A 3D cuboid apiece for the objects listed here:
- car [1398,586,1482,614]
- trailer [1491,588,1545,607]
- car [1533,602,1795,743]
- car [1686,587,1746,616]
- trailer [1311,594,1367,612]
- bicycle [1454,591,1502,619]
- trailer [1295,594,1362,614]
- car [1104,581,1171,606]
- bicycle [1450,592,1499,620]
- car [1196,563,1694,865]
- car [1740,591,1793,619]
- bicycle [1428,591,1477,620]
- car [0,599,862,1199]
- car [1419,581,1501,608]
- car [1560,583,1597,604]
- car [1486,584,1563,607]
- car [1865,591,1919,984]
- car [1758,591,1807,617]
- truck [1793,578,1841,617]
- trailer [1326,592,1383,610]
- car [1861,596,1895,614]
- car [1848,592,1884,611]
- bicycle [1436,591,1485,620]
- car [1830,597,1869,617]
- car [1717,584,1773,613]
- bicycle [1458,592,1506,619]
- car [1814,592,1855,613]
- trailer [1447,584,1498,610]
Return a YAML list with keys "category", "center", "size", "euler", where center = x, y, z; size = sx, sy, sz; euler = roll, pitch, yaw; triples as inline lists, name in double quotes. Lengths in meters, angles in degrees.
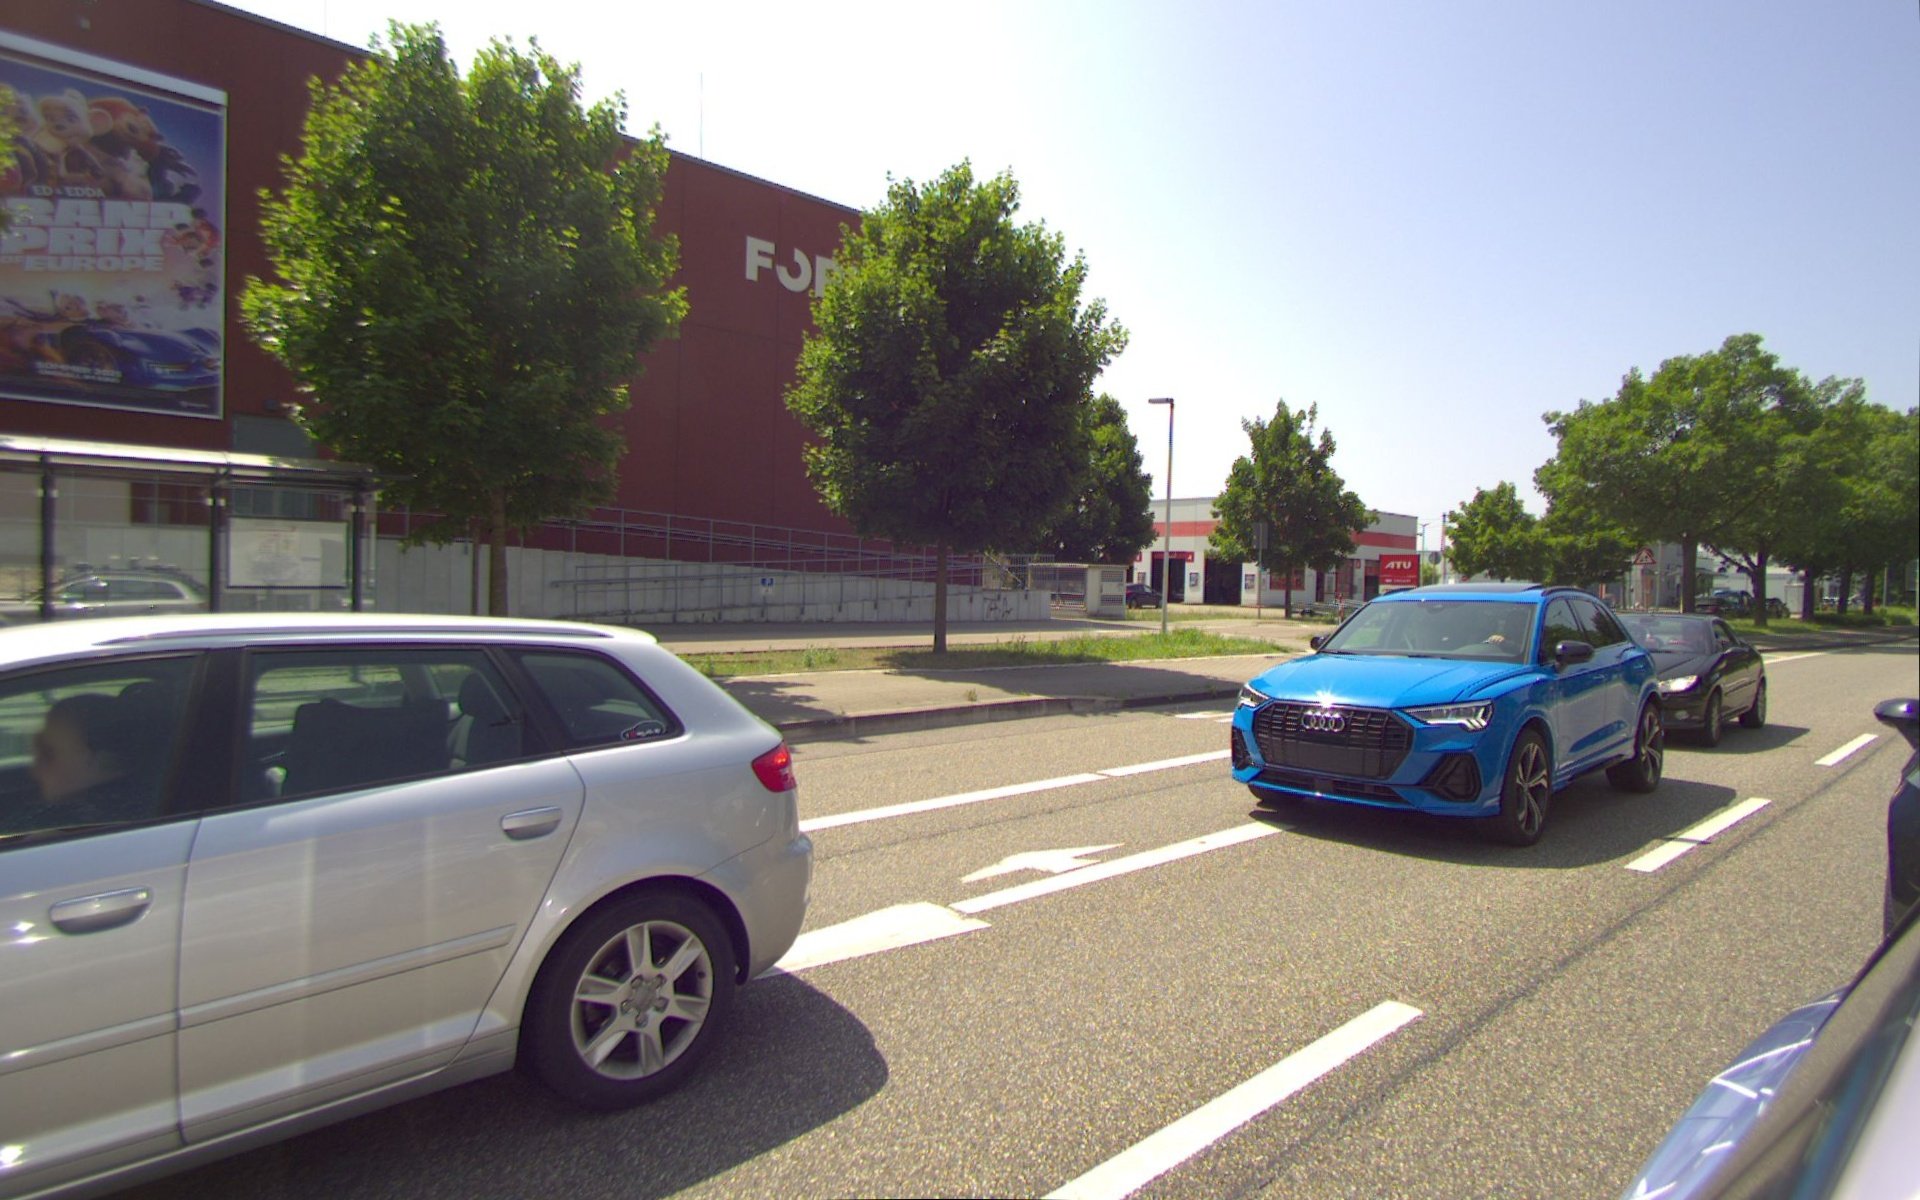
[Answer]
- category: "car"
  center: [27.382, -0.022, 57.835]
  size: [1.718, 1.419, 3.992]
  euler: [0, 2, -43]
- category: "trailer"
  center: [34.987, -0.159, 63.446]
  size: [1.552, 1.065, 2.638]
  euler: [0, 2, -43]
- category: "car"
  center: [8.225, 0.704, 11.700]
  size: [3.931, 1.361, 1.640]
  euler: [0, -1, -42]
- category: "car"
  center: [38.873, 0.076, 52.031]
  size: [3.930, 1.388, 1.641]
  euler: [0, 2, -41]
- category: "trailer"
  center: [17.673, 0.144, 47.207]
  size: [1.244, 0.771, 2.137]
  euler: [0, 2, -39]
- category: "bicycle"
  center: [22.328, 0.212, 43.649]
  size: [1.779, 1.138, 0.506]
  euler: [3, 1, 43]
- category: "trailer"
  center: [16.593, 0.167, 45.666]
  size: [1.423, 0.771, 2.467]
  euler: [0, 2, -39]
- category: "car"
  center: [10.493, -0.378, 59.693]
  size: [4.074, 1.390, 1.716]
  euler: [0, 2, -42]
- category: "bicycle"
  center: [21.919, 0.253, 43.158]
  size: [1.779, 1.138, 0.506]
  euler: [3, 1, 43]
- category: "car"
  center: [3.805, 0.592, 7.560]
  size: [4.324, 1.616, 1.840]
  euler: [0, 1, -42]
- category: "car"
  center: [47.335, 0.292, 59.365]
  size: [3.930, 1.539, 1.719]
  euler: [0, 2, -41]
- category: "bicycle"
  center: [20.683, 0.232, 42.529]
  size: [1.779, 1.138, 0.506]
  euler: [3, 1, 43]
- category: "car"
  center: [-2.380, 0.693, 2.691]
  size: [4.022, 1.379, 1.714]
  euler: [0, 0, -43]
- category: "car"
  center: [29.174, -0.321, 59.118]
  size: [1.718, 1.419, 3.991]
  euler: [0, 2, -44]
- category: "car"
  center: [48.364, -0.506, 79.146]
  size: [1.753, 1.616, 3.940]
  euler: [2, 2, 42]
- category: "car"
  center: [36.419, -0.317, 65.335]
  size: [1.662, 1.317, 3.991]
  euler: [0, 2, -44]
- category: "car"
  center: [5.397, 0.711, 4.488]
  size: [3.931, 1.421, 1.640]
  euler: [0, 2, -42]
- category: "car"
  center: [51.712, 0.259, 63.582]
  size: [3.930, 1.532, 1.719]
  euler: [0, 2, -41]
- category: "truck"
  center: [60.331, -0.185, 71.246]
  size: [3.929, 2.599, 1.904]
  euler: [0, 1, -40]
- category: "trailer"
  center: [18.836, 0.045, 48.393]
  size: [1.369, 0.771, 2.137]
  euler: [0, 2, -39]
- category: "car"
  center: [80.015, 0.427, 88.169]
  size: [3.930, 1.485, 1.719]
  euler: [0, 2, -41]
- category: "car"
  center: [75.315, 0.135, 84.107]
  size: [3.930, 1.485, 1.719]
  euler: [0, 2, -41]
- category: "bicycle"
  center: [21.197, 0.218, 42.875]
  size: [1.779, 1.138, 0.506]
  euler: [3, 1, 43]
- category: "car"
  center: [69.710, 0.507, 79.307]
  size: [3.930, 1.485, 1.719]
  euler: [0, 2, -41]
- category: "car"
  center: [43.497, -0.070, 56.043]
  size: [3.930, 1.485, 1.719]
  euler: [0, 2, -41]
- category: "bicycle"
  center: [22.796, 0.230, 44.188]
  size: [1.779, 1.138, 0.506]
  euler: [3, 1, 43]
- category: "car"
  center: [64.745, 0.183, 74.896]
  size: [3.930, 1.485, 1.719]
  euler: [0, 2, -41]
- category: "trailer"
  center: [33.104, -0.189, 65.372]
  size: [1.391, 1.546, 2.638]
  euler: [0, 2, -43]
